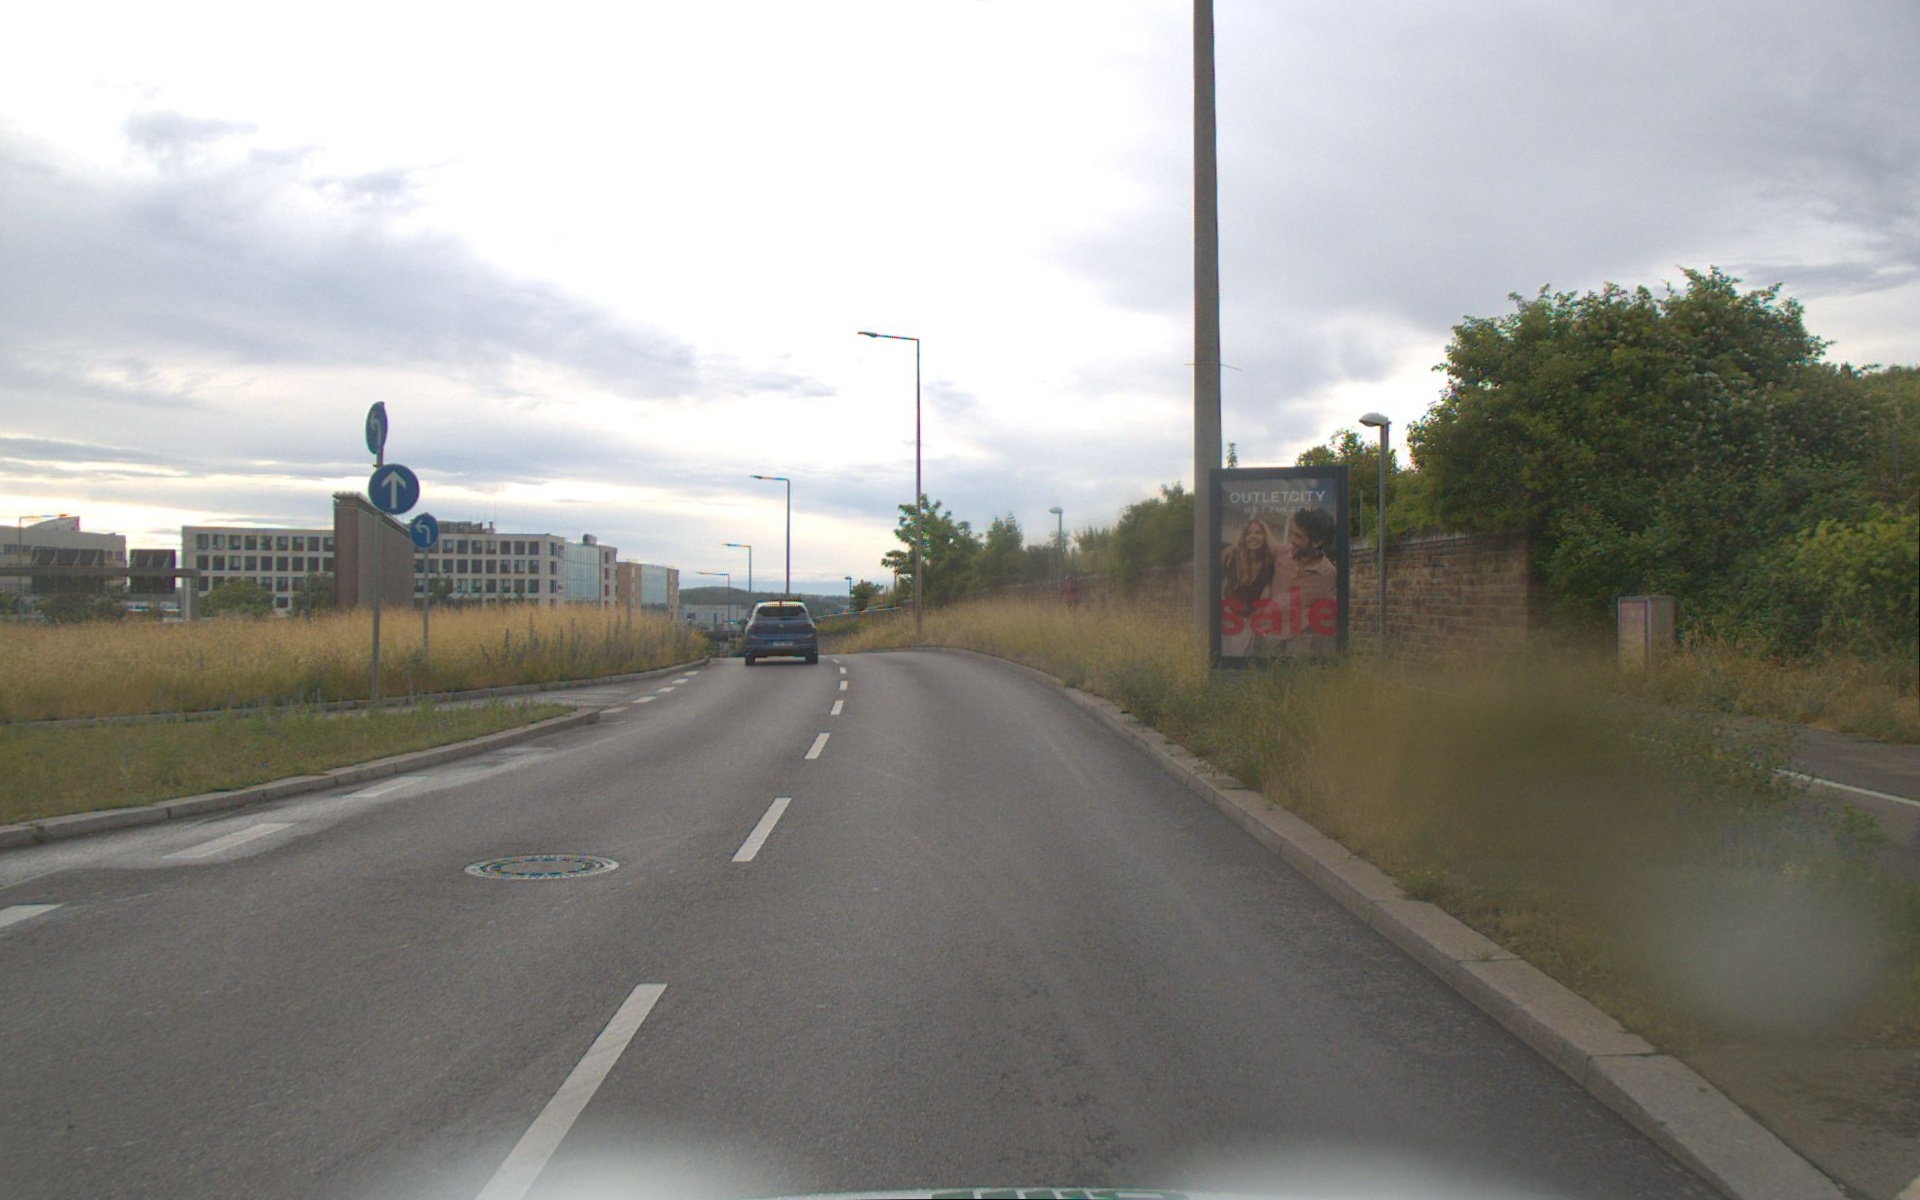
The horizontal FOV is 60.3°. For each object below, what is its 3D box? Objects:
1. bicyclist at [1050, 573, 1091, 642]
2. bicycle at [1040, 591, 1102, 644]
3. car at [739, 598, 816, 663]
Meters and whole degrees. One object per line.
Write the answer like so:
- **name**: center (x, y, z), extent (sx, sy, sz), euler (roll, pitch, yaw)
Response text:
- **bicyclist**: center (3.301, 0.227, 49.384), extent (0.854, 1.942, 1.289), euler (2, -5, -14)
- **bicycle**: center (3.290, 0.549, 49.424), extent (0.854, 1.311, 3.473), euler (2, -5, -14)
- **car**: center (-4.399, 0.715, 39.716), extent (1.715, 1.445, 3.472), euler (2, -1, -7)
